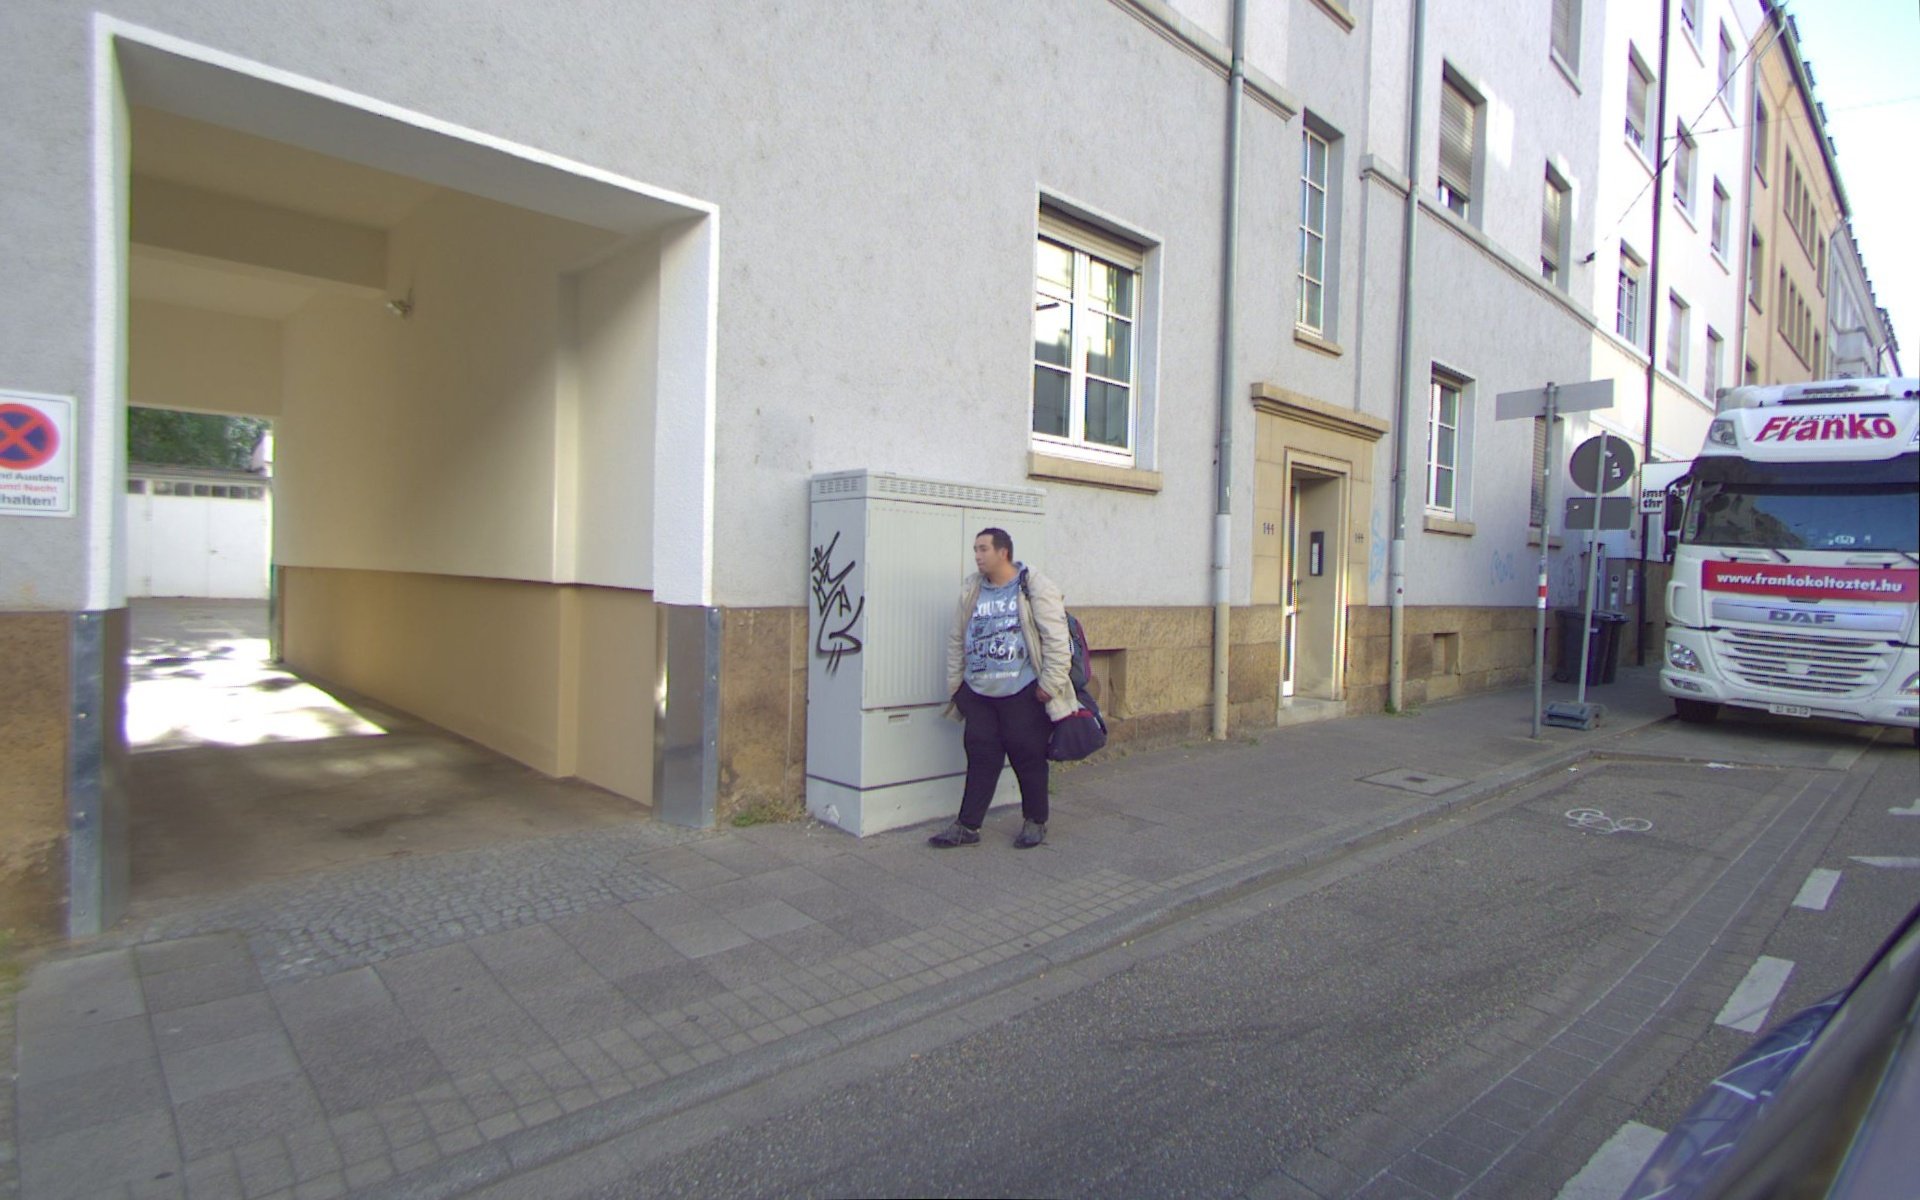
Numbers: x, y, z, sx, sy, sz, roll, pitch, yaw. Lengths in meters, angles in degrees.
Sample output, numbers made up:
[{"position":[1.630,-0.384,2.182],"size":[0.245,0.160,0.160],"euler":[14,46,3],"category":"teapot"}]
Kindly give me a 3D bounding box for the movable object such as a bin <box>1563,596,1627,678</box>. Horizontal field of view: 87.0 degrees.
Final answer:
[{"position":[9.157,0.519,14.589],"size":[0.658,1.118,0.533],"euler":[2,2,44],"category":"movable object such as a bin"}]

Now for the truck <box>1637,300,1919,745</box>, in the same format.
[{"position":[12.651,-0.758,13.876],"size":[11.578,4.123,2.864],"euler":[0,2,-43],"category":"truck"}]

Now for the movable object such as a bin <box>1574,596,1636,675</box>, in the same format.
[{"position":[9.568,0.513,15.004],"size":[0.658,1.118,0.533],"euler":[2,2,44],"category":"movable object such as a bin"}]

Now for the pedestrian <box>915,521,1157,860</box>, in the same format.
[{"position":[0.387,0.397,5.243],"size":[0.854,1.552,0.827],"euler":[0,3,-42],"category":"pedestrian"}]
